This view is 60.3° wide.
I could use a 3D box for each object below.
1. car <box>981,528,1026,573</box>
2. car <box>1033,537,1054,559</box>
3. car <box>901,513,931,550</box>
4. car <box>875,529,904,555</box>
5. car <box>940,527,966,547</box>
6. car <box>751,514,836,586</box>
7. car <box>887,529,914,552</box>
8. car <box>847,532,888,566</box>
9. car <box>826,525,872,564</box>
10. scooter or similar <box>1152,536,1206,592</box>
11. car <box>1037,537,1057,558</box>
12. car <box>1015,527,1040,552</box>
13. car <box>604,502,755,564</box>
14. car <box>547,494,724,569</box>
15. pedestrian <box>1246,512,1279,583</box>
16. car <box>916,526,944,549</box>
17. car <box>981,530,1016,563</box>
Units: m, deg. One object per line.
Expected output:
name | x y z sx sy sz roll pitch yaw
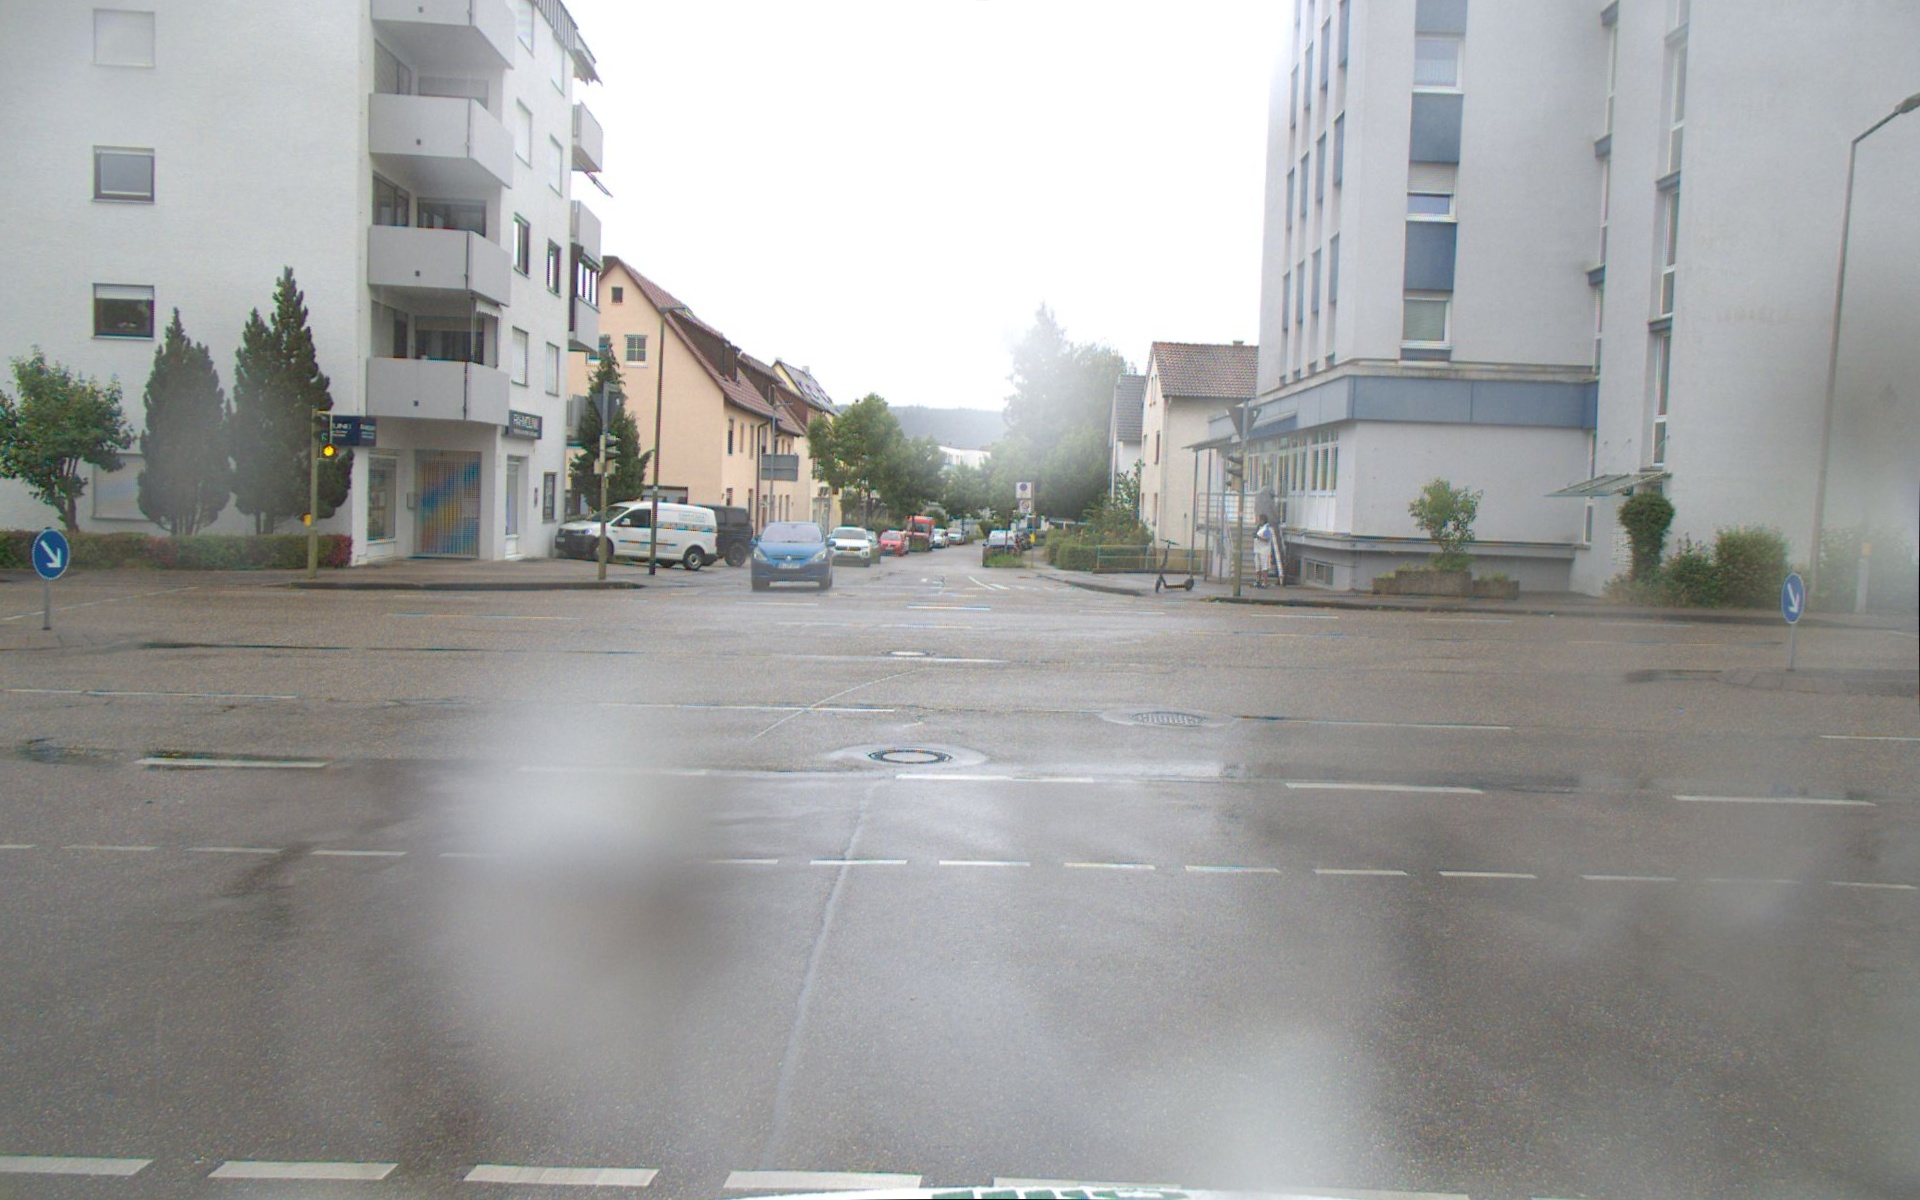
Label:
car | 2.171 -2.438 81.584 1.951 2.049 4.002 1 0 4
car | 8.201 -5.080 162.111 1.951 2.048 4.003 1 2 4
car | -3.373 -5.240 127.251 2.171 2.816 5.725 0 2 -1
car | -4.432 -3.652 104.071 1.732 1.545 3.998 0 2 -3
car | -0.663 -5.874 154.688 1.951 1.736 4.003 1 0 6
car | -3.694 -1.079 37.222 1.732 1.471 3.997 1 0 -3
car | -4.093 -4.021 112.470 1.732 1.545 3.998 0 2 -3
car | -4.423 -2.452 79.286 1.731 1.545 4.195 1 2 0
car | -4.531 -2.275 67.813 1.732 1.549 3.999 0 2 -2
scooter or similar | 5.114 -0.835 38.655 1.039 1.249 0.800 1 0 -10
car | 9.004 -5.426 170.685 1.951 2.048 4.003 1 2 4
car | 5.667 -5.036 137.978 1.951 2.048 4.003 1 2 4
car | -9.190 -2.177 54.415 4.578 1.921 1.935 -1 2 -40
car | -9.279 -1.937 47.470 4.684 1.809 1.748 3 0 -40
pedestrian | 7.263 -1.256 39.724 0.641 1.680 0.646 1 -1 0
car | -2.530 -5.226 138.648 1.951 1.713 4.002 1 0 4
car | 2.443 -3.342 103.633 1.951 2.048 4.003 1 2 4
